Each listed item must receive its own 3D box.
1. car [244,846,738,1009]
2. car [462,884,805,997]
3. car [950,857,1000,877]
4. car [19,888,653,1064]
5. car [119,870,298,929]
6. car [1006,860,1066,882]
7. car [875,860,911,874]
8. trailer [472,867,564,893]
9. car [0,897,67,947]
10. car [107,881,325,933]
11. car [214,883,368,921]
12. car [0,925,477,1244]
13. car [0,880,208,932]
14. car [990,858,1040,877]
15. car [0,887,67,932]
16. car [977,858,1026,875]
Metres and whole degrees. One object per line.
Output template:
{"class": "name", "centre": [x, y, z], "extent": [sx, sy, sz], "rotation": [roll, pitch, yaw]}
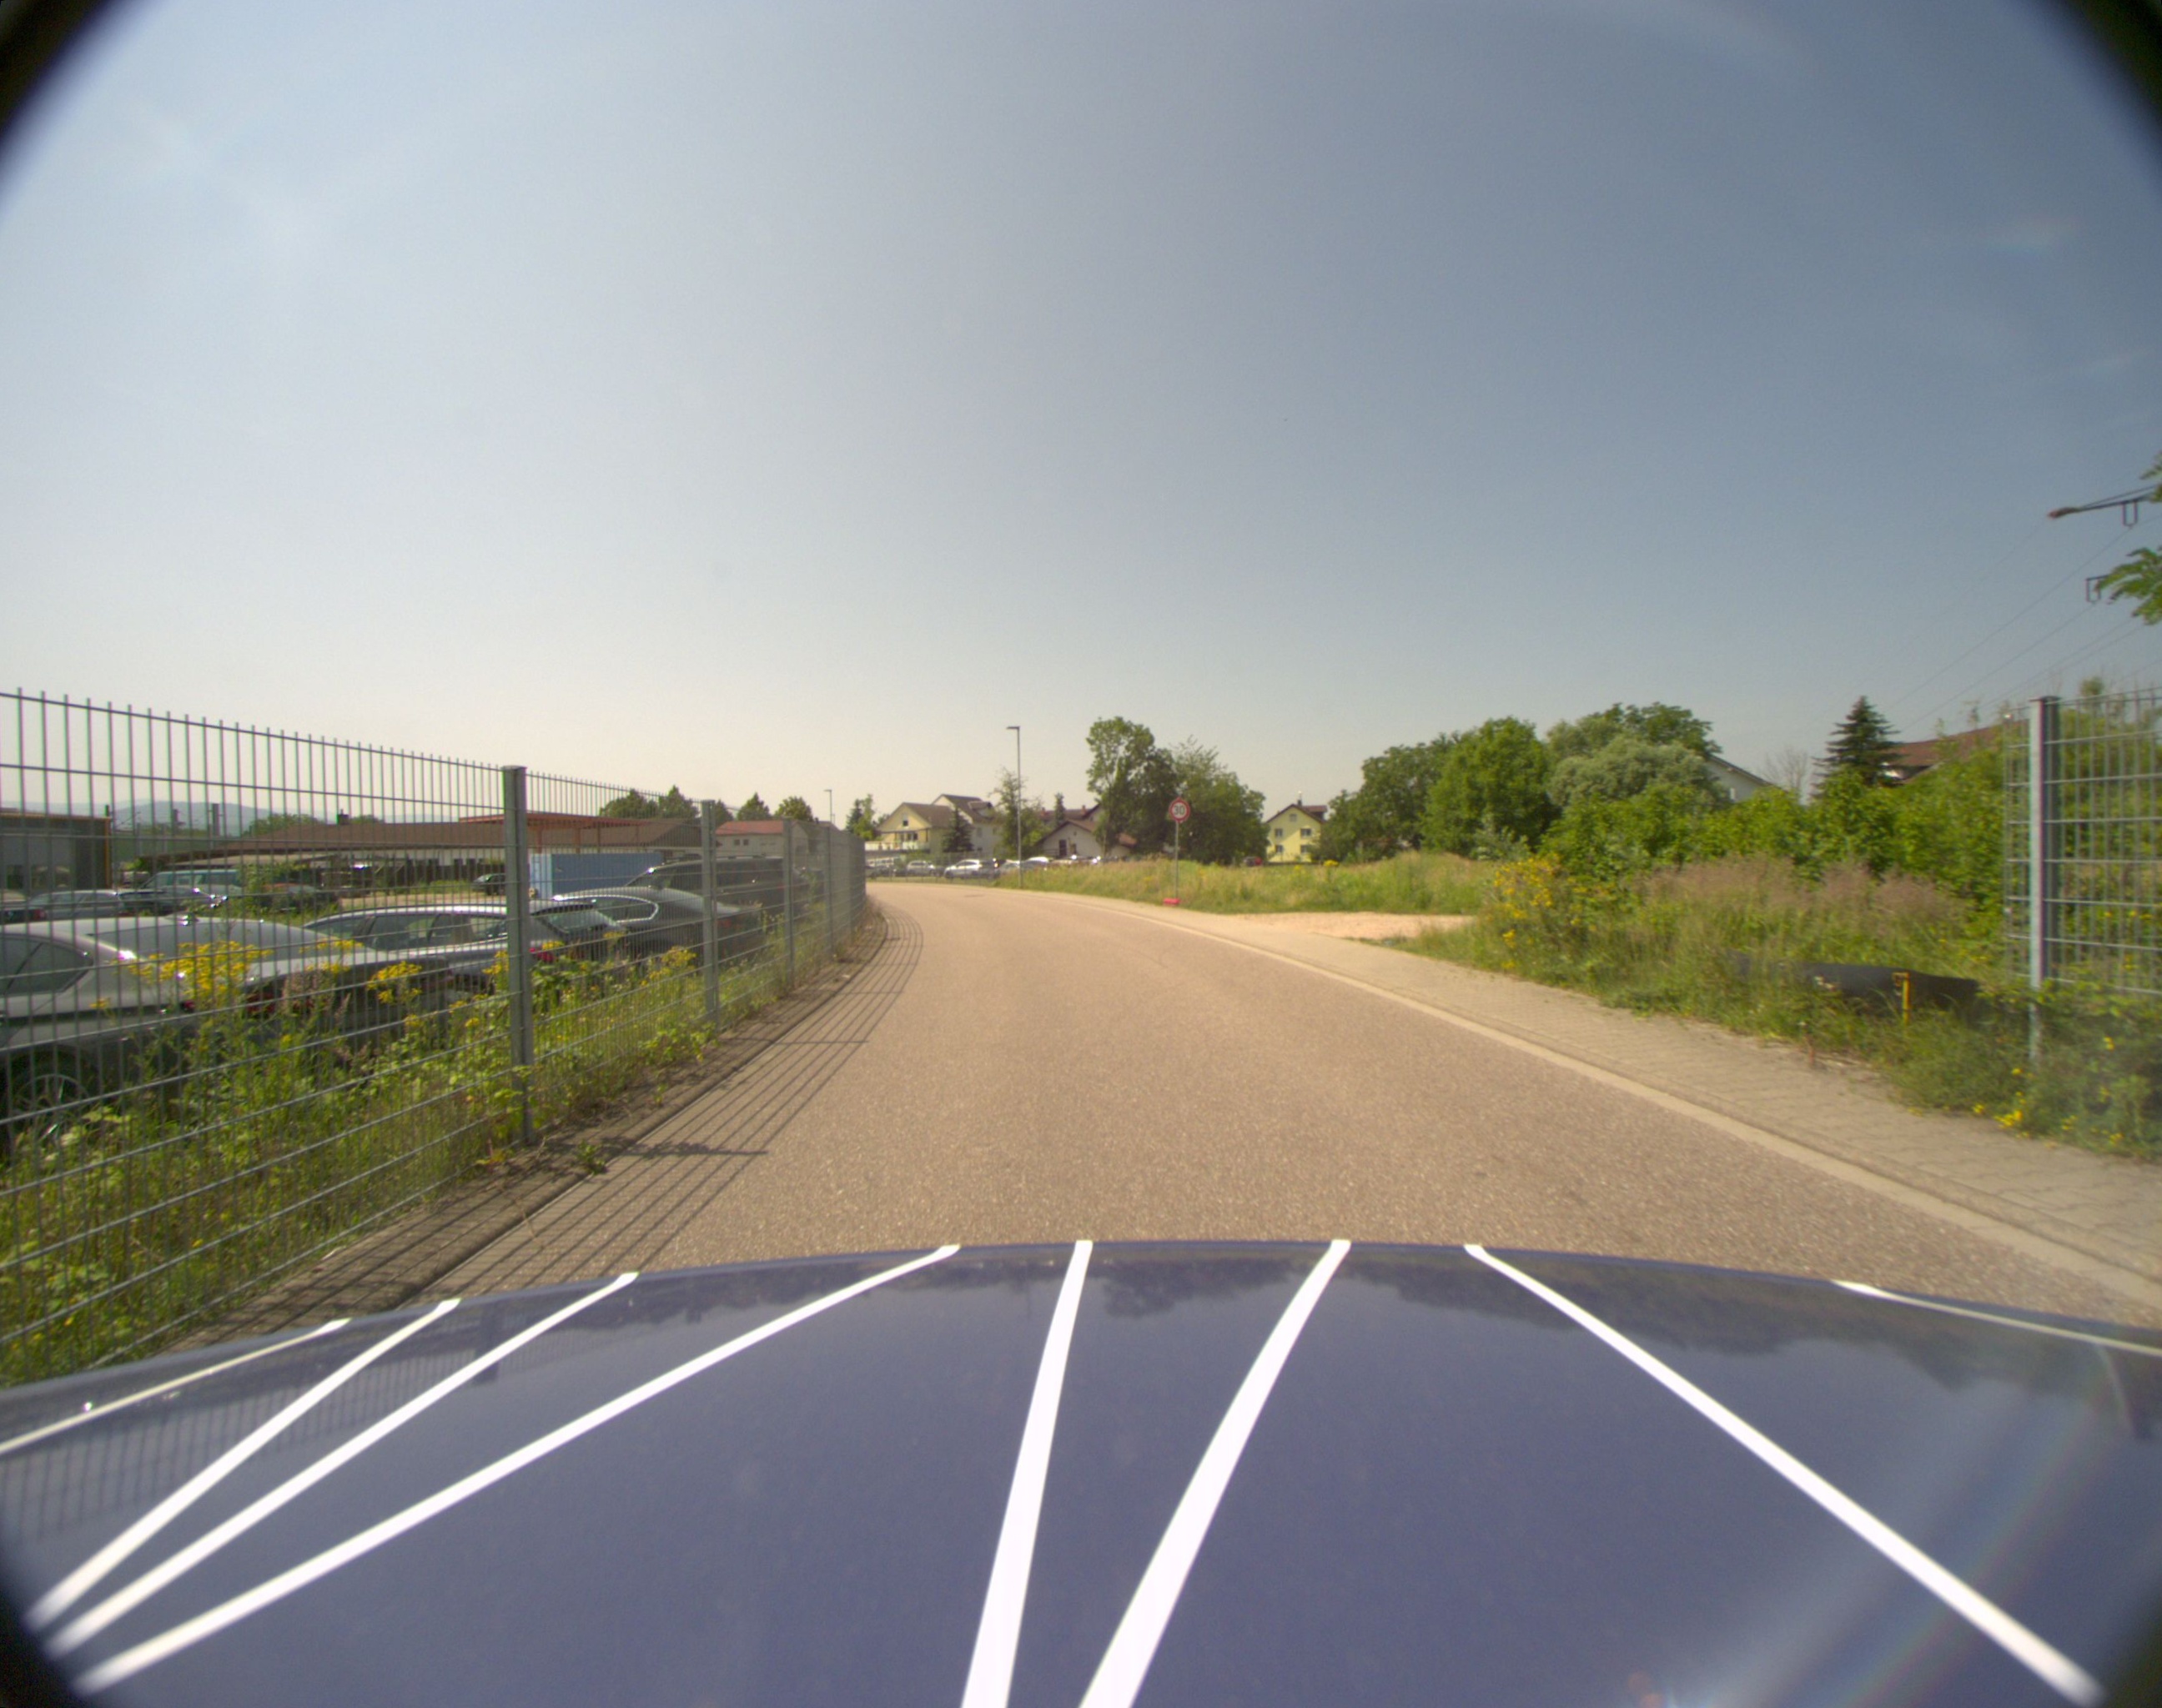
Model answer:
{"class": "car", "centre": [-7.173, 0.820, 9.800], "extent": [4.702, 1.758, 1.741], "rotation": [-1, 0, -12]}
{"class": "car", "centre": [-7.129, 1.350, 12.505], "extent": [4.477, 1.373, 1.722], "rotation": [-3, 0, -4]}
{"class": "car", "centre": [-8.204, 1.007, 58.732], "extent": [3.636, 1.481, 1.585], "rotation": [-1, 0, 31]}
{"class": "car", "centre": [-7.218, 1.122, 7.884], "extent": [4.484, 1.373, 1.722], "rotation": [-1, 0, -10]}
{"class": "car", "centre": [-31.266, 1.595, 27.319], "extent": [4.386, 1.970, 1.842], "rotation": [-1, 0, 2]}
{"class": "car", "centre": [-2.947, 1.052, 48.700], "extent": [1.585, 1.326, 4.392], "rotation": [-1, 0, -38]}
{"class": "car", "centre": [-20.813, 1.472, 84.160], "extent": [3.673, 1.455, 1.824], "rotation": [-1, 1, 32]}
{"class": "trailer", "centre": [-38.066, 1.750, 51.508], "extent": [1.765, 1.556, 4.627], "rotation": [-3, -2, 29]}
{"class": "car", "centre": [-25.632, 1.543, 16.791], "extent": [4.386, 1.027, 1.619], "rotation": [-1, 0, 2]}
{"class": "car", "centre": [-25.361, 1.532, 22.385], "extent": [4.386, 1.337, 1.842], "rotation": [-1, 0, 2]}
{"class": "car", "centre": [-26.027, 1.559, 25.109], "extent": [3.372, 1.102, 1.672], "rotation": [-1, 0, 2]}
{"class": "car", "centre": [-7.000, 1.377, 5.080], "extent": [4.480, 1.573, 1.796], "rotation": [-1, 0, 1]}
{"class": "car", "centre": [-25.828, 1.324, 19.691], "extent": [4.386, 1.198, 1.842], "rotation": [-1, 0, 2]}
{"class": "car", "centre": [-4.938, 1.011, 56.882], "extent": [3.452, 1.411, 1.585], "rotation": [-1, 0, 31]}
{"class": "car", "centre": [-36.635, 1.832, 24.915], "extent": [4.386, 1.369, 1.842], "rotation": [-1, 0, 2]}
{"class": "car", "centre": [-7.270, 1.146, 69.423], "extent": [3.989, 1.489, 2.004], "rotation": [-1, 0, 31]}
